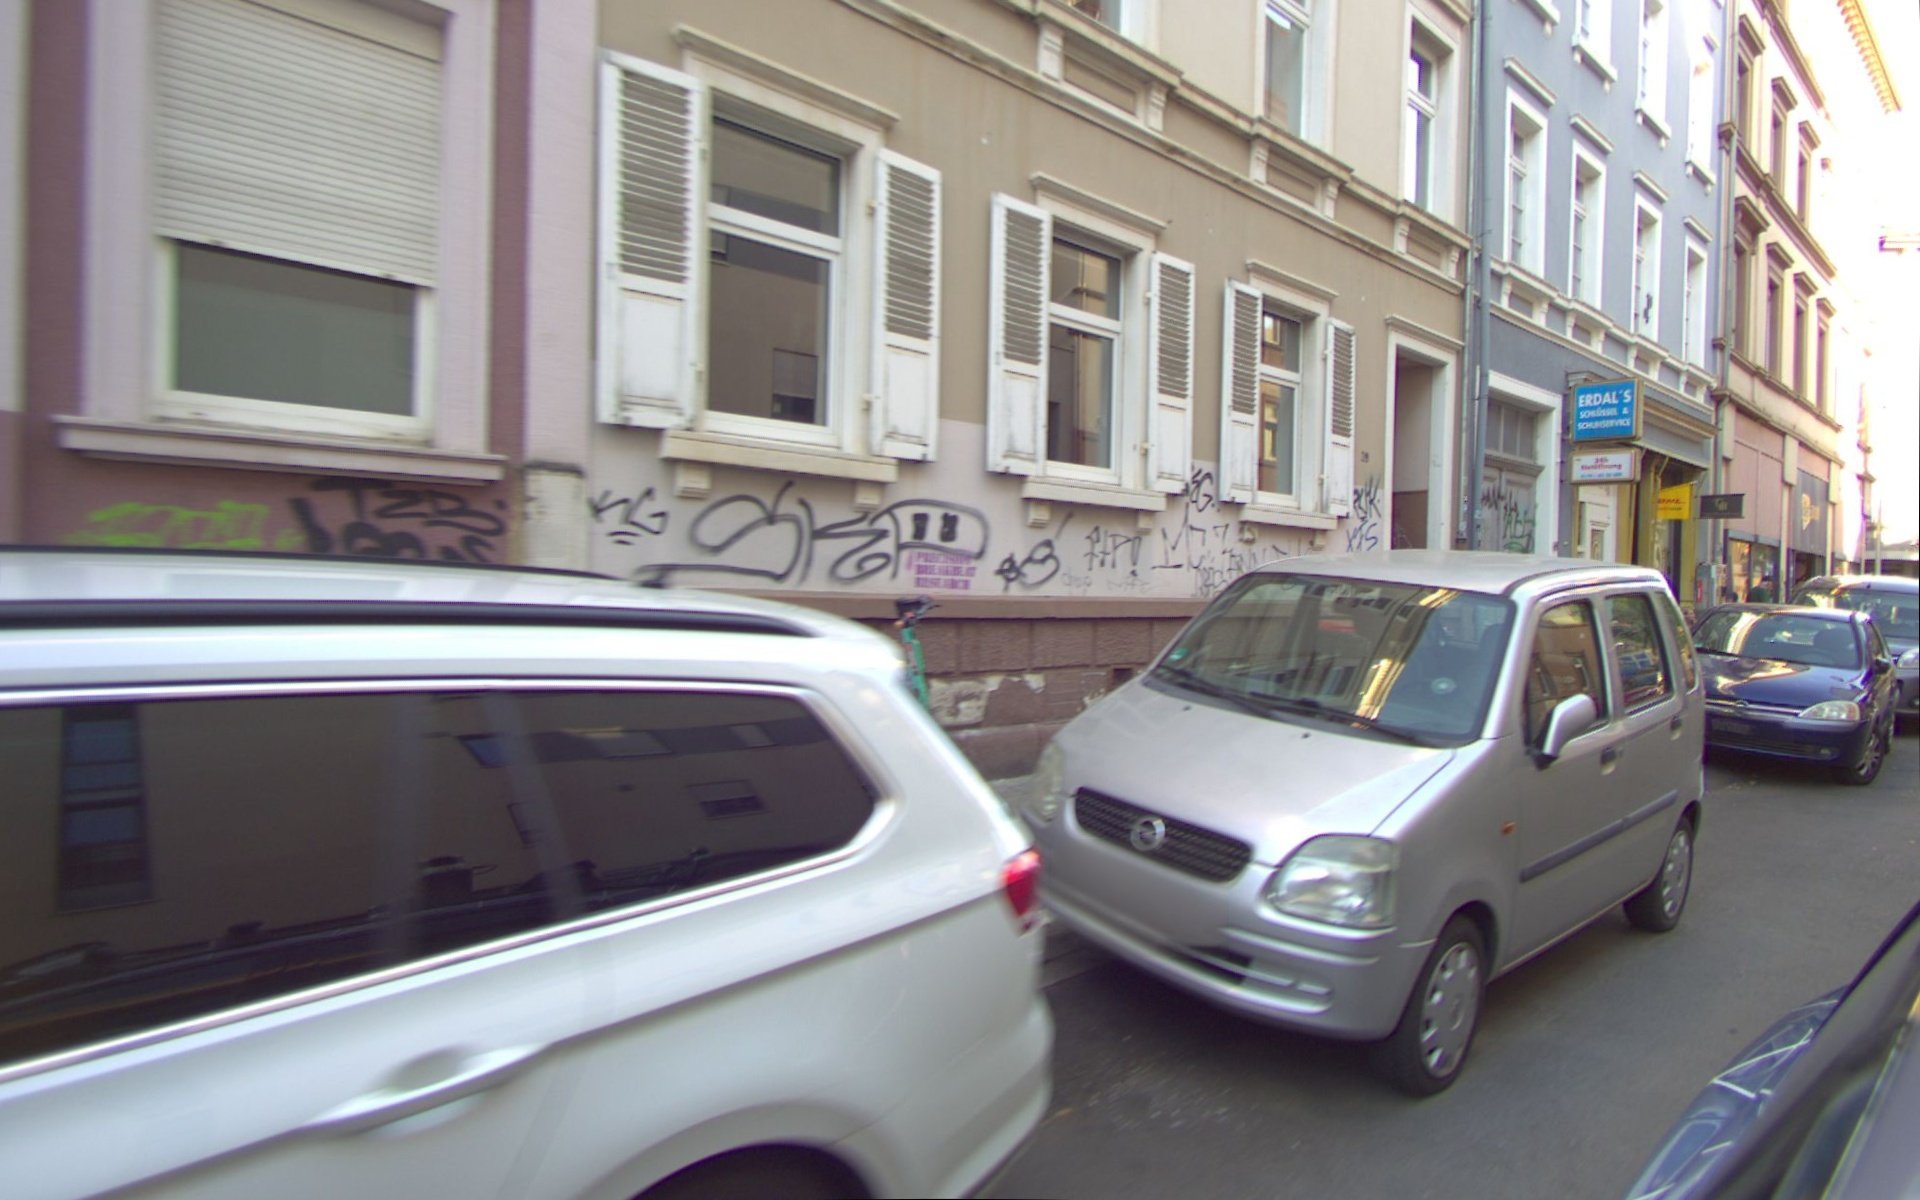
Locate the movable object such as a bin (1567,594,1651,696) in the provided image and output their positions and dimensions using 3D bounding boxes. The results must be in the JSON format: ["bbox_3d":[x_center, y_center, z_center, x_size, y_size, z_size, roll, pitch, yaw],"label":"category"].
[{"bbox_3d":[8.471,0.564,13.217,0.570,1.258,0.763,0,2,-43],"label":"movable object such as a bin"}]

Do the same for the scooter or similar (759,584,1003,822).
[{"bbox_3d":[-0.423,0.522,5.802,1.345,1.196,0.451,-1,5,-41],"label":"scooter or similar"}]

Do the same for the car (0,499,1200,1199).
[{"bbox_3d":[-1.789,0.643,1.253,4.548,1.562,1.700,-1,4,-41],"label":"car"}]

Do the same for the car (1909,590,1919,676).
[{"bbox_3d":[19.708,0.609,19.600,3.491,1.592,1.609,-1,1,-41],"label":"car"}]

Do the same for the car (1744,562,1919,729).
[{"bbox_3d":[11.617,0.466,12.816,4.240,1.816,1.902,-1,1,-41],"label":"car"}]

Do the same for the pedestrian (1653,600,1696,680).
[{"bbox_3d":[11.436,0.630,16.196,0.505,1.238,0.439,0,0,-38],"label":"pedestrian"}]

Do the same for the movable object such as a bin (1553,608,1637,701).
[{"bbox_3d":[8.007,0.665,12.769,0.674,1.105,0.726,0,1,-43],"label":"movable object such as a bin"}]

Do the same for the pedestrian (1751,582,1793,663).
[{"bbox_3d":[15.849,0.423,19.746,0.587,1.549,0.648,0,0,44],"label":"pedestrian"}]

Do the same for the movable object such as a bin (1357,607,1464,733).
[{"bbox_3d":[4.309,0.641,9.699,0.621,1.101,0.696,0,3,-41],"label":"movable object such as a bin"}]

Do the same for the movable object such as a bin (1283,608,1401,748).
[{"bbox_3d":[3.334,0.651,8.842,0.549,1.101,0.754,0,3,-41],"label":"movable object such as a bin"}]

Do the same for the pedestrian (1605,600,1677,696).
[{"bbox_3d":[9.519,0.648,14.151,0.617,1.293,0.677,0,0,-38],"label":"pedestrian"}]

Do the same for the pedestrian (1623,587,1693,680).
[{"bbox_3d":[10.083,0.462,14.630,0.642,1.293,0.677,0,0,-38],"label":"pedestrian"}]

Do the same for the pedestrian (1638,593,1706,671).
[{"bbox_3d":[10.673,0.462,15.174,0.642,1.139,0.677,0,0,-38],"label":"pedestrian"}]

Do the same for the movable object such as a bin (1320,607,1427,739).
[{"bbox_3d":[3.776,0.641,9.254,0.549,1.101,0.696,0,3,-41],"label":"movable object such as a bin"}]

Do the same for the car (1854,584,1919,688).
[{"bbox_3d":[16.325,0.574,16.825,3.254,1.575,1.574,-1,5,-39],"label":"car"}]

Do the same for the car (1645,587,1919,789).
[{"bbox_3d":[7.787,0.647,9.472,3.551,1.530,1.554,-1,1,-43],"label":"car"}]

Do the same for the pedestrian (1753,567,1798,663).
[{"bbox_3d":[15.445,0.273,19.177,0.627,1.762,0.650,0,0,37],"label":"pedestrian"}]

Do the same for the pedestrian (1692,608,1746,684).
[{"bbox_3d":[12.748,0.761,17.010,0.505,1.238,0.532,0,0,0],"label":"pedestrian"}]

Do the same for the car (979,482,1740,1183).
[{"bbox_3d":[1.889,0.551,4.251,3.497,1.733,1.559,-1,1,-41],"label":"car"}]

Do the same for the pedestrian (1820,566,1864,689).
[{"bbox_3d":[12.925,0.389,14.837,0.425,1.762,0.555,0,0,35],"label":"pedestrian"}]
